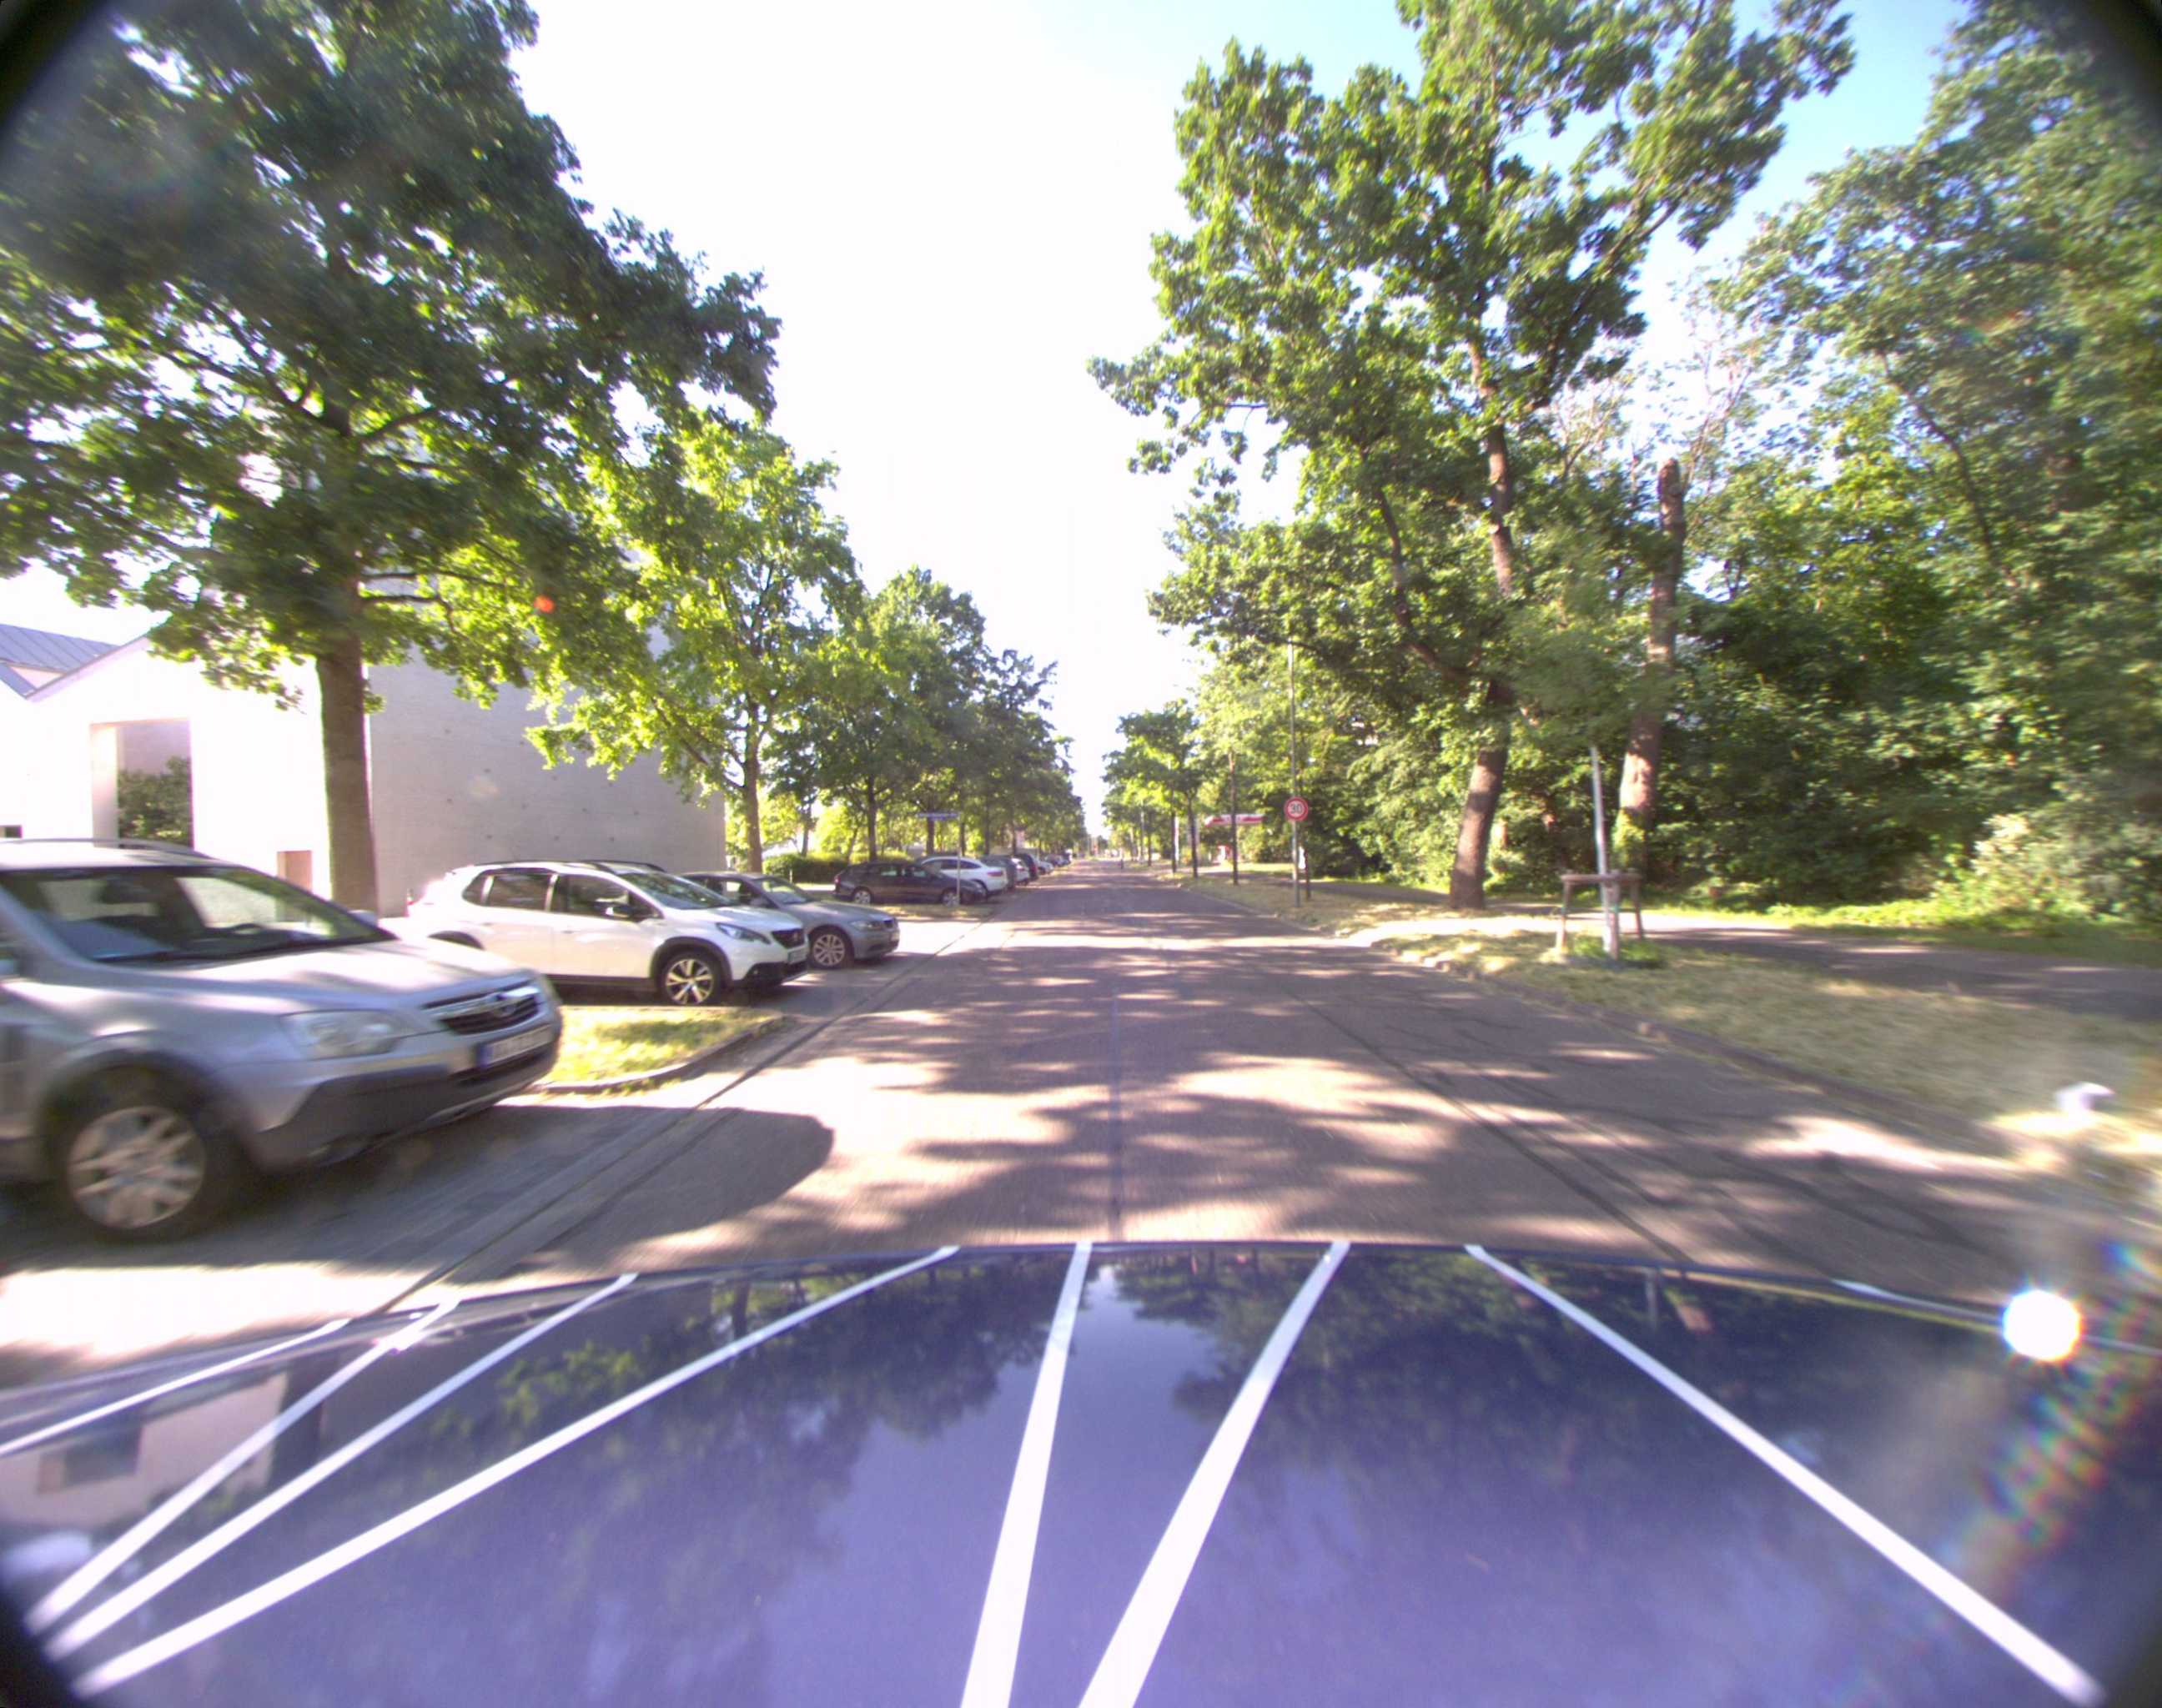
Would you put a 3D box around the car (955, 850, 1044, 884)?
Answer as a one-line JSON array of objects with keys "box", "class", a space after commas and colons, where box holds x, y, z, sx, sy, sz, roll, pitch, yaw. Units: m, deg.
[{"box": [-4.343, 0.675, 41.106, 4.541, 1.791, 1.936, 0, 1, 1], "class": "car"}]

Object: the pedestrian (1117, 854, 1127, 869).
[{"box": [4.075, 0.704, 75.363, 0.942, 1.491, 0.885, 0, 0, 2], "class": "pedestrian"}]

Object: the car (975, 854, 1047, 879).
[{"box": [-4.354, 0.774, 47.678, 4.255, 1.510, 2.078, 0, 1, 2], "class": "car"}]

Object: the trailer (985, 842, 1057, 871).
[{"box": [-5.002, 0.201, 63.406, 5.788, 2.304, 1.686, 1, 1, 3], "class": "trailer"}]

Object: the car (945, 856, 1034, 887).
[{"box": [-4.608, 0.865, 38.596, 4.231, 1.463, 1.800, 0, 0, 2], "class": "car"}]

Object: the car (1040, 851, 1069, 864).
[{"box": [-3.421, 0.436, 98.092, 3.592, 1.567, 1.786, 0, 1, 2], "class": "car"}]

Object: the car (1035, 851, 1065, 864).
[{"box": [-3.725, 0.461, 93.162, 3.592, 1.567, 1.857, 0, 1, 0], "class": "car"}]

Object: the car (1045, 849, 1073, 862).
[{"box": [-3.176, 0.181, 110.831, 4.019, 1.826, 1.799, 0, 1, -2], "class": "car"}]

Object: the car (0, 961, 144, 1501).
[{"box": [-4.971, 1.084, 1.488, 3.996, 1.425, 1.901, -1, 0, 2], "class": "car"}]

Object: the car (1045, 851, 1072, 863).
[{"box": [-2.967, 0.400, 102.759, 3.529, 1.523, 1.665, 0, 1, 2], "class": "car"}]

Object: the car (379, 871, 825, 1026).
[{"box": [-5.148, 0.977, 8.577, 3.895, 1.488, 1.777, 0, 1, 0], "class": "car"}]

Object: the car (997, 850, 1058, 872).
[{"box": [-4.223, 0.555, 60.636, 4.653, 1.712, 1.987, 0, 1, 2], "class": "car"}]

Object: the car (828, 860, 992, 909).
[{"box": [-5.228, 0.918, 23.732, 4.682, 1.447, 1.916, 0, 0, 0], "class": "car"}]

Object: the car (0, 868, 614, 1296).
[{"box": [-5.186, 0.929, 3.919, 4.396, 1.641, 1.851, 1, 0, -1], "class": "car"}]

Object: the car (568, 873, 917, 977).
[{"box": [-4.963, 1.026, 11.630, 4.456, 1.382, 1.911, 0, 0, 1], "class": "car"}]

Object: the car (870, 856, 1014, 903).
[{"box": [-4.806, 0.858, 26.748, 4.682, 1.571, 1.917, 0, 0, 1], "class": "car"}]
